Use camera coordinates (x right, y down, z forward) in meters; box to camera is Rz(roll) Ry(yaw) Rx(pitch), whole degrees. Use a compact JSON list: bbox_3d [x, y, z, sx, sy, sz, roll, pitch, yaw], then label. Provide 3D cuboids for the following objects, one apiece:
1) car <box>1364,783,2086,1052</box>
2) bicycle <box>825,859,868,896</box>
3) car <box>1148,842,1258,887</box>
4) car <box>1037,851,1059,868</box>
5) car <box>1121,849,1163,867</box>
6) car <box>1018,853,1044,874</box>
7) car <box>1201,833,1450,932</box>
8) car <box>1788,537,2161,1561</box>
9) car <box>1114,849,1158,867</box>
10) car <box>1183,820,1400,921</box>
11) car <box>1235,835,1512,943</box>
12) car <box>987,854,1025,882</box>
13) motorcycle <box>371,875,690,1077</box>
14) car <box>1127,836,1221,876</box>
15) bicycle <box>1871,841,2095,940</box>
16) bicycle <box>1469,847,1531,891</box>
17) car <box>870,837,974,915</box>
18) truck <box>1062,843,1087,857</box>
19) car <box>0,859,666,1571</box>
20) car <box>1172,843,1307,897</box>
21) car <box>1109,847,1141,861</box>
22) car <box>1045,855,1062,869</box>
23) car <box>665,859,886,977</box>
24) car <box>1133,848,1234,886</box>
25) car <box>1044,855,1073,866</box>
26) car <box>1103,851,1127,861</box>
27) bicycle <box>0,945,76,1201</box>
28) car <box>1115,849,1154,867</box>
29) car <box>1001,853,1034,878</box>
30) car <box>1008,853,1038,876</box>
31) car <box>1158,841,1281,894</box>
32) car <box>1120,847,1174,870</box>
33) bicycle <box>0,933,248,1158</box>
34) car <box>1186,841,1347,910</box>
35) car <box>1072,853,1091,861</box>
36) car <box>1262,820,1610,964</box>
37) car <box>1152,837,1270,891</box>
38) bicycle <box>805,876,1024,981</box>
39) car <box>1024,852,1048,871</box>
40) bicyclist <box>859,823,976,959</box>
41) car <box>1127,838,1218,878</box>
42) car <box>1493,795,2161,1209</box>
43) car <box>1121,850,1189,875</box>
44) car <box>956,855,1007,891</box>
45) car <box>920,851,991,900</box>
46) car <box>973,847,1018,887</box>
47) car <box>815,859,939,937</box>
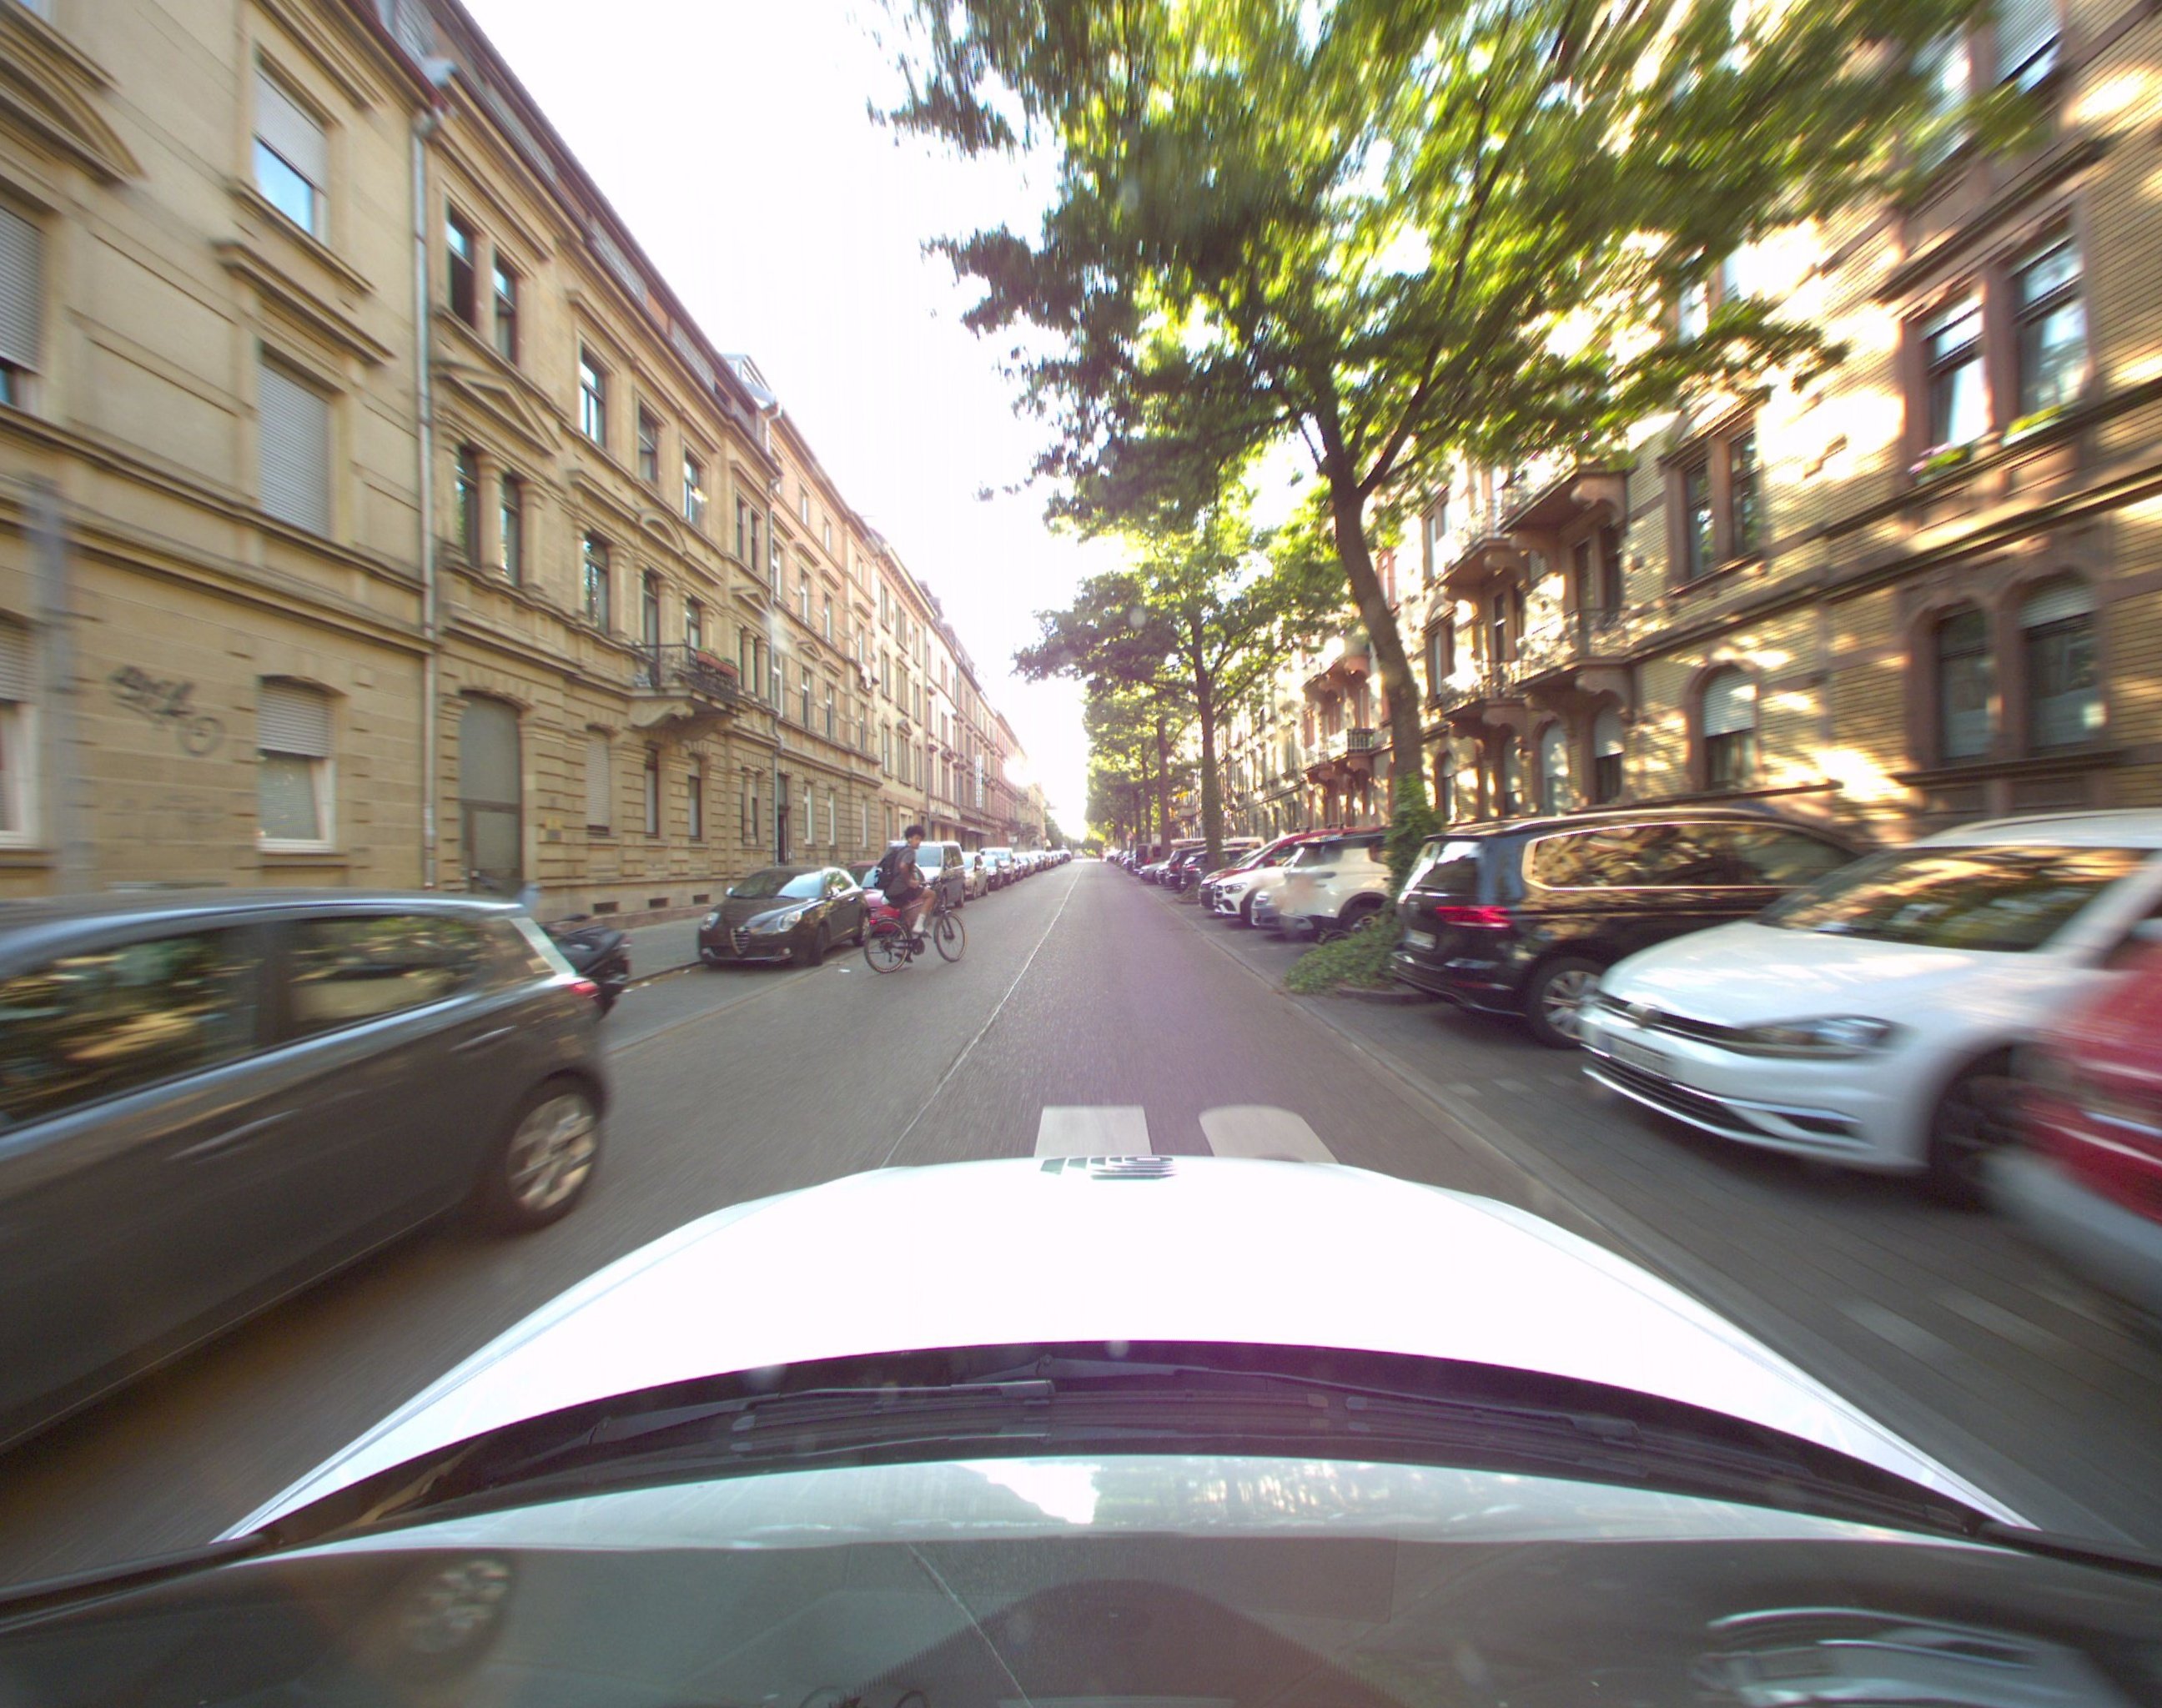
[{"bbox_3d":[4.681,0.457,6.502,4.168,1.628,1.839,-3,-1,3],"label":"car"},{"bbox_3d":[-8.420,0.810,29.355,0.738,1.255,2.826,0,0,0],"label":"bicycle"},{"bbox_3d":[5.085,0.436,34.252,4.217,1.611,1.831,-3,0,-7],"label":"car"},{"bbox_3d":[-3.183,0.567,80.105,1.987,1.486,3.998,-2,-2,0],"label":"car"},{"bbox_3d":[6.005,0.402,80.893,3.847,1.574,1.713,-3,0,-8],"label":"car"},{"bbox_3d":[-3.852,0.709,62.821,1.753,1.473,4.058,-2,0,-1],"label":"car"},{"bbox_3d":[4.727,0.521,16.210,4.330,1.556,1.850,-4,1,-1],"label":"car"},{"bbox_3d":[4.448,0.279,1.459,4.660,2.033,1.878,-3,-1,0],"label":"car"},{"bbox_3d":[5.290,0.384,78.489,3.847,1.574,1.713,-3,0,-8],"label":"car"},{"bbox_3d":[4.765,0.344,18.819,4.433,1.924,1.849,-4,1,-2],"label":"car"},{"bbox_3d":[4.805,0.562,13.806,3.998,1.434,1.794,-4,-1,0],"label":"car"},{"bbox_3d":[-4.174,0.738,45.598,1.753,1.473,4.058,-2,0,-1],"label":"car"},{"bbox_3d":[-4.575,0.906,7.152,1.063,1.370,2.605,-1,0,-1],"label":"motorcycle"},{"bbox_3d":[5.217,0.125,46.004,5.040,1.925,1.835,-3,0,0],"label":"car"},{"bbox_3d":[10.002,0.370,9.148,0.403,0.962,1.868,-4,0,1],"label":"bicycle"},{"bbox_3d":[10.323,0.357,20.149,0.551,1.000,1.894,-3,0,1],"label":"bicycle"},{"bbox_3d":[-4.373,0.557,23.225,1.826,1.943,5.260,0,0,1],"label":"car"},{"bbox_3d":[-1.765,-1.120,239.651,7.277,3.950,2.410,1,0,-36],"label":"truck"},{"bbox_3d":[-3.181,0.812,2.263,1.751,1.501,4.063,-2,0,3],"label":"car"},{"bbox_3d":[5.046,0.515,26.293,3.997,1.467,1.733,-3,-1,0],"label":"car"},{"bbox_3d":[5.556,0.006,103.285,3.838,1.574,1.717,-3,0,-1],"label":"car"},{"bbox_3d":[-3.374,1.010,100.237,1.987,1.486,3.998,-2,-2,0],"label":"car"},{"bbox_3d":[-4.600,0.872,12.990,1.751,1.501,4.063,-2,0,3],"label":"car"},{"bbox_3d":[4.566,0.568,36.628,4.213,1.403,1.832,-3,0,-5],"label":"car"},{"bbox_3d":[-3.074,0.920,110.783,1.974,1.486,4.025,-3,-2,33],"label":"car"},{"bbox_3d":[5.562,0.326,133.593,3.838,1.574,1.717,-3,0,-1],"label":"car"},{"bbox_3d":[-5.816,1.001,3.682,1.861,1.128,0.528,0,-1,0],"label":"bicycle"},{"bbox_3d":[5.604,0.424,85.539,3.847,1.574,1.713,-3,0,-8],"label":"car"},{"bbox_3d":[-3.973,0.725,51.703,1.753,1.473,4.058,-2,0,-1],"label":"car"},{"bbox_3d":[-3.960,0.684,56.337,1.753,1.473,4.058,-2,0,-1],"label":"car"},{"bbox_3d":[4.845,0.464,28.898,3.997,1.607,1.733,-3,-1,0],"label":"car"},{"bbox_3d":[4.939,0.344,61.195,3.841,1.479,1.716,-3,0,-3],"label":"car"},{"bbox_3d":[-5.861,1.029,4.546,1.861,1.128,0.528,0,-1,0],"label":"bicycle"},{"bbox_3d":[4.770,0.510,21.250,3.654,1.455,1.846,-4,1,-6],"label":"car"},{"bbox_3d":[0.139,0.666,179.437,3.964,1.859,1.755,0,0,8],"label":"car"},{"bbox_3d":[4.751,0.488,11.324,3.999,1.628,1.804,-3,-1,-1],"label":"car"},{"bbox_3d":[4.967,0.376,31.548,4.208,1.776,1.834,-3,0,-1],"label":"car"},{"bbox_3d":[-2.261,0.965,11.508,2.940,1.158,0.986,-3,1,-45],"label":"bicycle"},{"bbox_3d":[-3.738,0.611,67.589,1.753,1.473,4.058,-2,0,-1],"label":"car"},{"bbox_3d":[-2.303,0.477,11.492,1.214,1.789,0.987,-2,0,-44],"label":"bicyclist"},{"bbox_3d":[4.750,0.189,42.268,4.234,1.795,1.823,-3,0,-19],"label":"car"},{"bbox_3d":[4.883,0.502,4.046,4.656,1.514,1.880,-3,-1,2],"label":"car"},{"bbox_3d":[4.402,0.504,48.863,3.841,1.293,1.716,-3,0,-3],"label":"car"},{"bbox_3d":[-4.305,0.783,35.581,1.753,1.467,3.999,1,0,-1],"label":"car"},{"bbox_3d":[-4.402,0.696,29.151,1.747,1.608,4.384,0,0,1],"label":"car"},{"bbox_3d":[-4.201,0.595,40.652,1.753,1.842,4.528,-2,0,-1],"label":"car"},{"bbox_3d":[-4.267,0.861,17.597,1.586,1.475,3.702,0,0,3],"label":"car"}]
